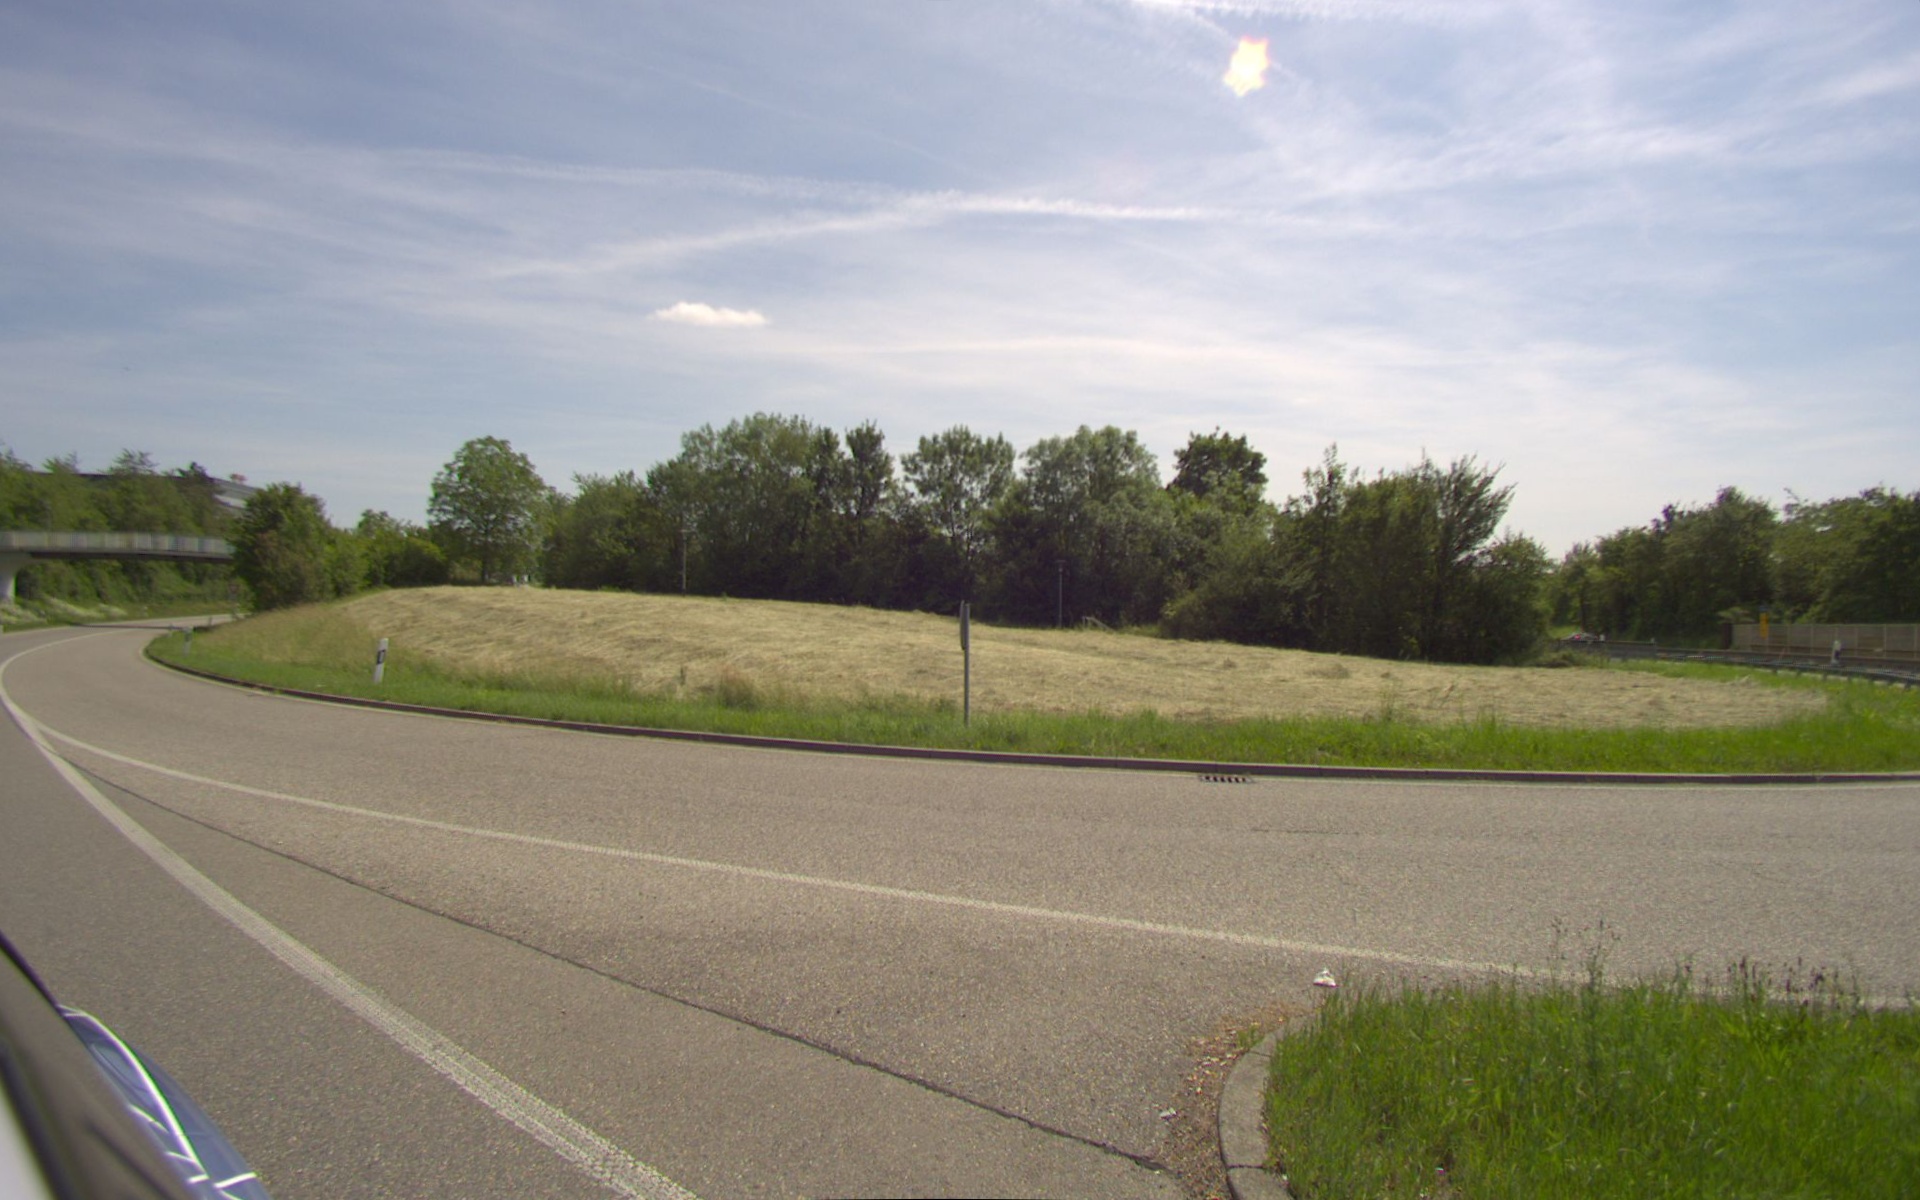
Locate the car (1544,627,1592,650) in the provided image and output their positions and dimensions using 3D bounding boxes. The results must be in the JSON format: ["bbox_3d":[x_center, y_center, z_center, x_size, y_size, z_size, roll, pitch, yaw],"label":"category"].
[{"bbox_3d":[43.473,2.722,72.451,1.738,1.550,4.089,-1,-1,13],"label":"car"}]
